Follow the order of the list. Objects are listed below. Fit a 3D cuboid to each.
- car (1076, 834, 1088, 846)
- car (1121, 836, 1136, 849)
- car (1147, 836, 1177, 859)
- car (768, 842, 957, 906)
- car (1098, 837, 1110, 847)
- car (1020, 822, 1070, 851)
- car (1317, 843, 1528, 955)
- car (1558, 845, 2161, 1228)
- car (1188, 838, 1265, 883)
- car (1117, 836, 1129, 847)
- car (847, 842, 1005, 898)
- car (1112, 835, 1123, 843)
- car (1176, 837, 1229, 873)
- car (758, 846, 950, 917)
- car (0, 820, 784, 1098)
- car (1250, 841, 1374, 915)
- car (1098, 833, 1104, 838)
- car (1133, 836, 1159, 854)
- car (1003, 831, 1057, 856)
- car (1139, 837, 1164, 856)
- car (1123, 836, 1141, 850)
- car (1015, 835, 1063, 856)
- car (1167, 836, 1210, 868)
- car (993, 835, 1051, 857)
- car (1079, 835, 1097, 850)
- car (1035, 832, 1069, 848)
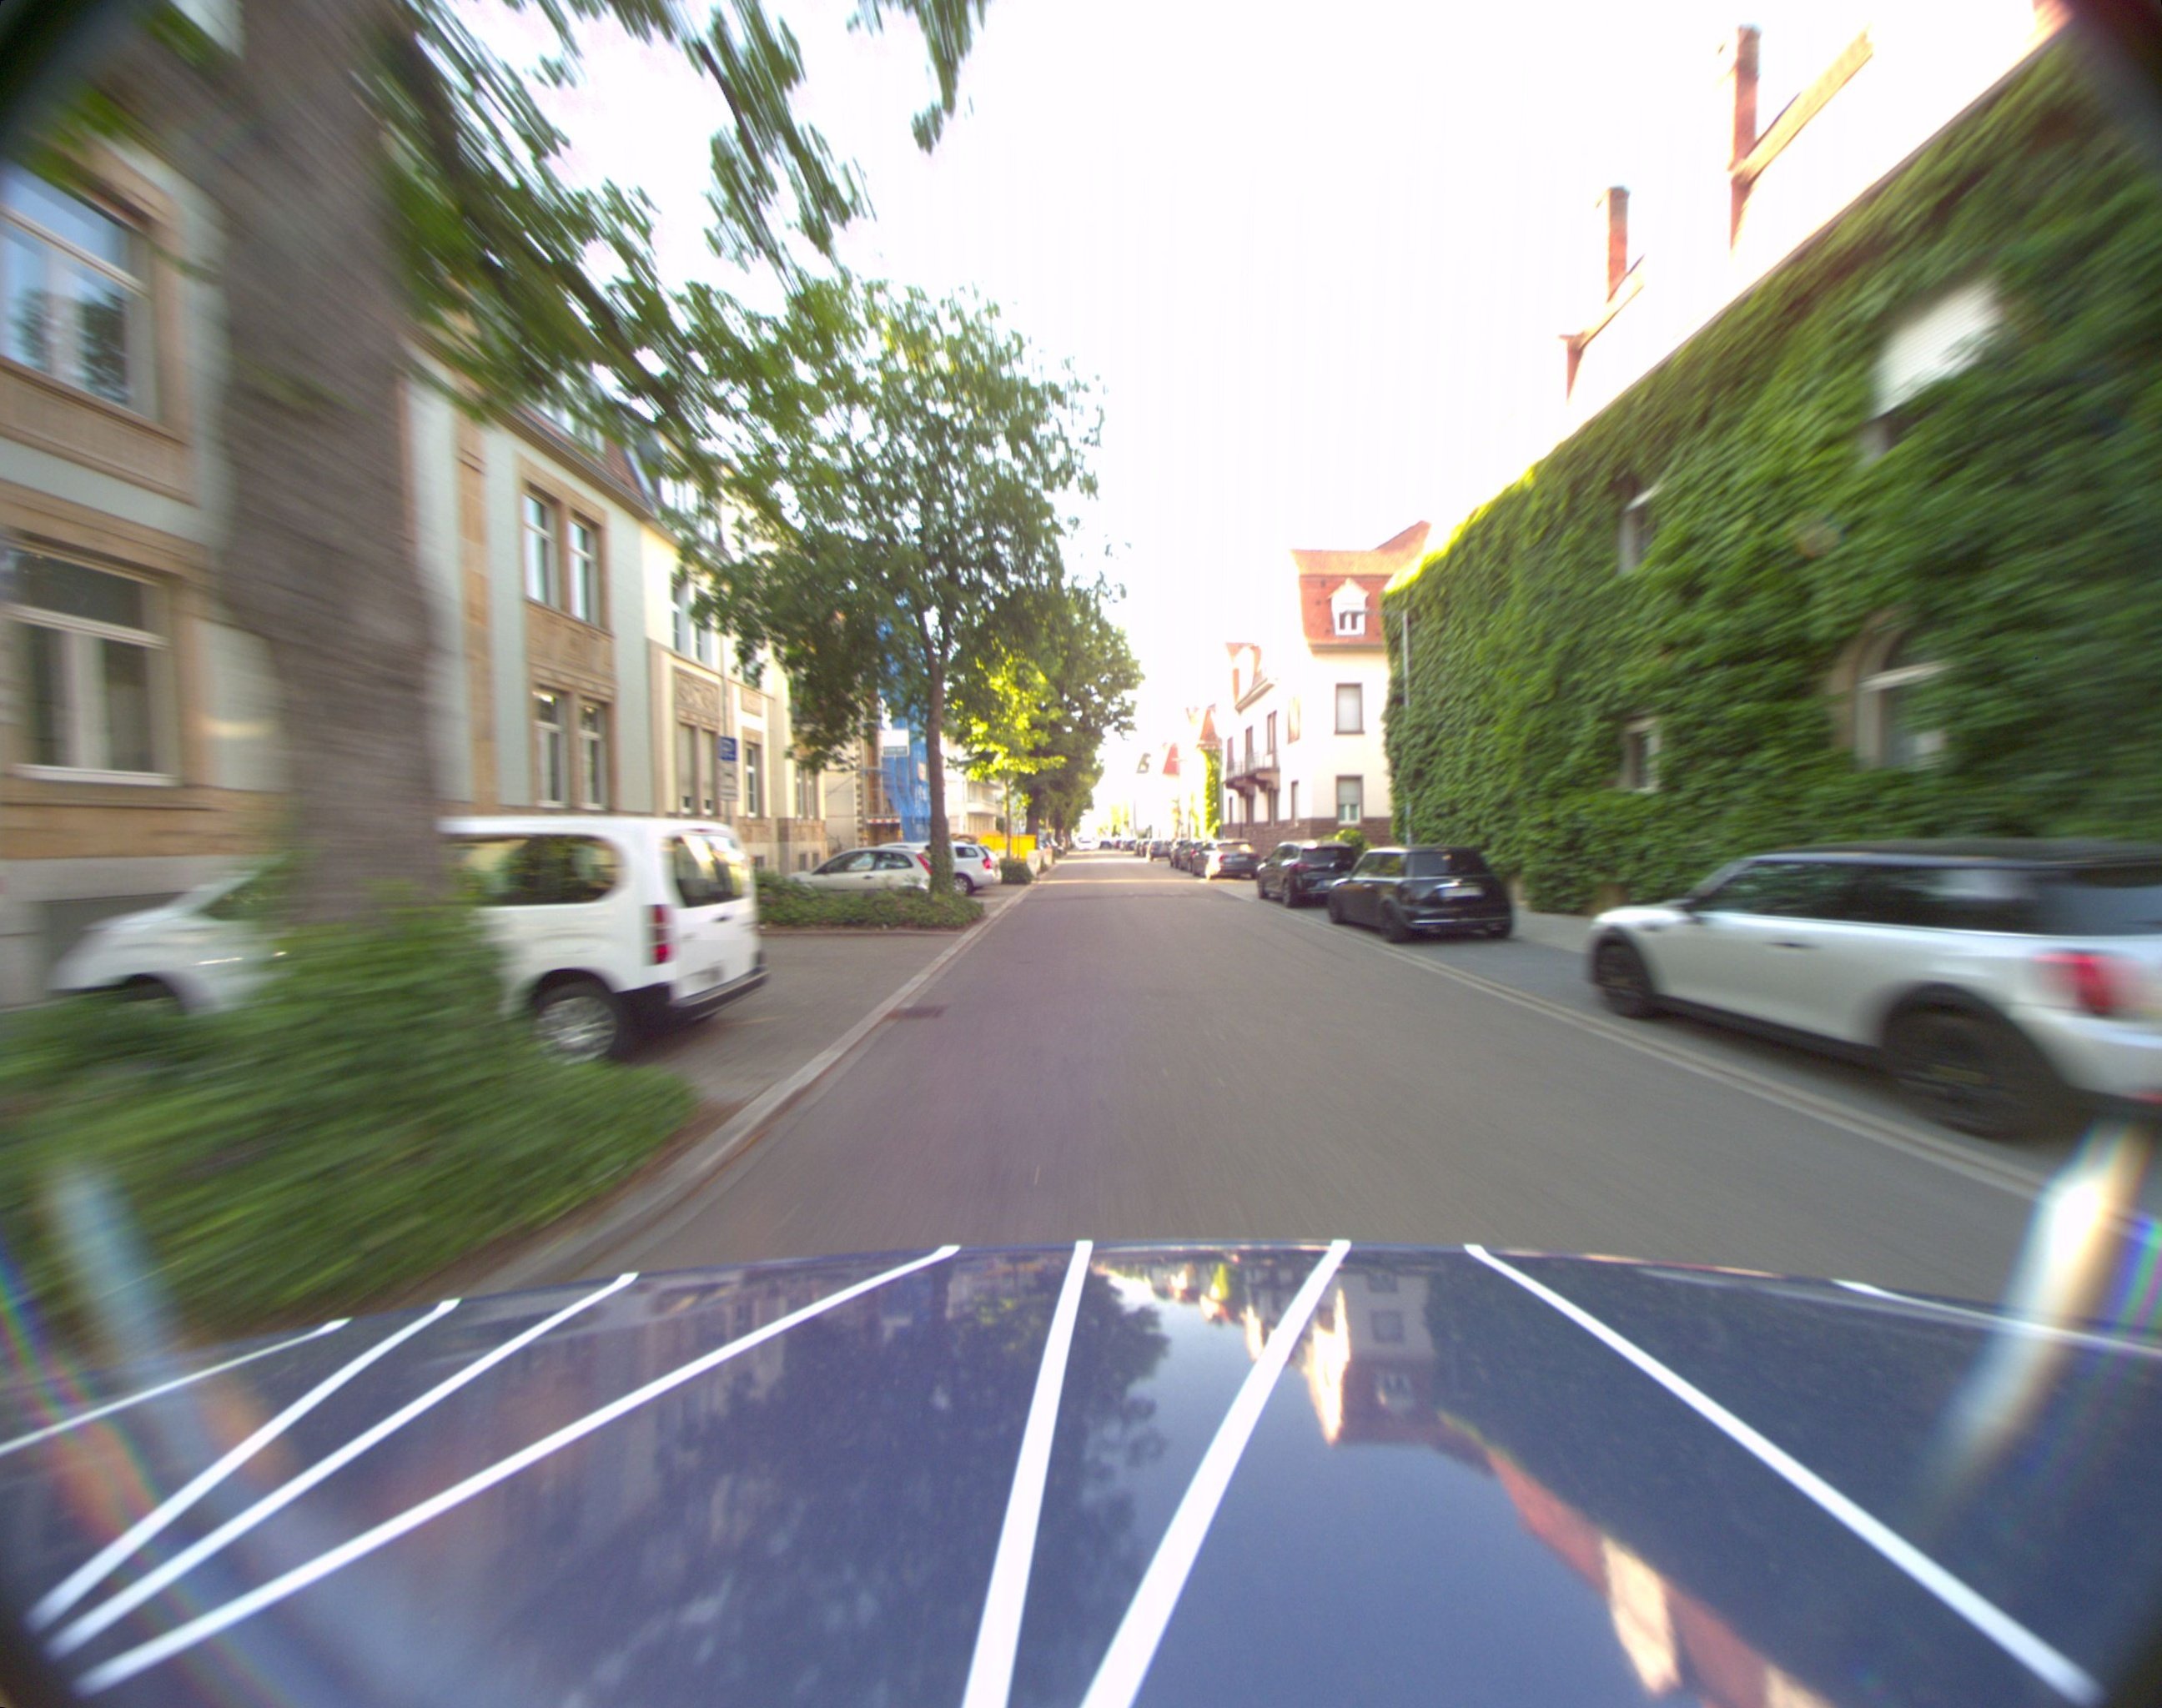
[{"bbox_3d":[0.124,-2.309,127.096,1.999,1.874,3.998,-2,2,0],"label":"car"},{"bbox_3d":[6.069,-1.509,96.759,1.585,1.512,3.705,-3,2,-1],"label":"car"},{"bbox_3d":[5.573,-0.461,52.889,1.657,1.439,4.003,-3,2,1],"label":"car"},{"bbox_3d":[-5.491,0.478,19.512,4.325,1.526,1.827,0,2,0],"label":"car"},{"bbox_3d":[3.363,-1.827,111.583,1.776,1.440,3.999,-1,2,0],"label":"car"},{"bbox_3d":[-3.745,-1.840,79.348,5.109,2.886,2.075,-1,2,-2],"label":"car"},{"bbox_3d":[5.172,0.581,12.072,1.690,1.372,3.720,-3,2,1],"label":"car"},{"bbox_3d":[5.232,0.737,5.067,1.708,1.452,3.916,-3,2,2],"label":"car"},{"bbox_3d":[5.355,0.165,28.658,1.797,1.453,4.775,-3,2,-2],"label":"car"},{"bbox_3d":[6.066,-1.805,110.539,1.654,1.474,3.428,-3,2,2],"label":"car"},{"bbox_3d":[-4.393,0.429,21.935,4.154,1.526,1.686,0,2,2],"label":"car"},{"bbox_3d":[6.697,-2.708,139.533,1.723,1.387,3.907,-3,1,2],"label":"car"},{"bbox_3d":[5.471,0.002,34.578,1.658,1.439,3.842,-3,2,-2],"label":"car"},{"bbox_3d":[-4.966,0.580,16.991,3.757,1.454,1.733,0,2,0],"label":"car"},{"bbox_3d":[-4.884,0.656,5.927,4.325,1.797,1.999,0,2,0],"label":"car"},{"bbox_3d":[5.209,0.467,17.706,1.653,1.413,4.097,-3,2,1],"label":"car"},{"bbox_3d":[6.412,-6.023,245.086,1.913,1.679,4.197,-3,2,1],"label":"car"},{"bbox_3d":[5.796,-0.825,68.104,1.714,1.462,4.631,-3,2,-1],"label":"car"},{"bbox_3d":[-4.396,-0.907,66.093,4.481,2.002,1.895,-2,2,-1],"label":"car"},{"bbox_3d":[5.812,-0.676,62.870,1.658,1.407,4.166,-3,2,0],"label":"car"},{"bbox_3d":[5.791,-1.294,86.502,1.657,1.446,4.629,-3,2,1],"label":"car"},{"bbox_3d":[-3.795,-0.781,68.631,4.188,1.714,1.764,-1,3,-7],"label":"car"},{"bbox_3d":[5.469,-0.152,39.075,1.657,1.477,3.763,-3,2,1],"label":"car"},{"bbox_3d":[-4.443,-0.624,58.042,4.343,1.673,1.705,0,2,-2],"label":"car"},{"bbox_3d":[0.849,-1.434,94.043,2.098,1.701,4.605,-2,2,1],"label":"car"},{"bbox_3d":[-3.737,-1.826,98.590,4.313,1.874,1.757,-1,3,-2],"label":"car"}]
